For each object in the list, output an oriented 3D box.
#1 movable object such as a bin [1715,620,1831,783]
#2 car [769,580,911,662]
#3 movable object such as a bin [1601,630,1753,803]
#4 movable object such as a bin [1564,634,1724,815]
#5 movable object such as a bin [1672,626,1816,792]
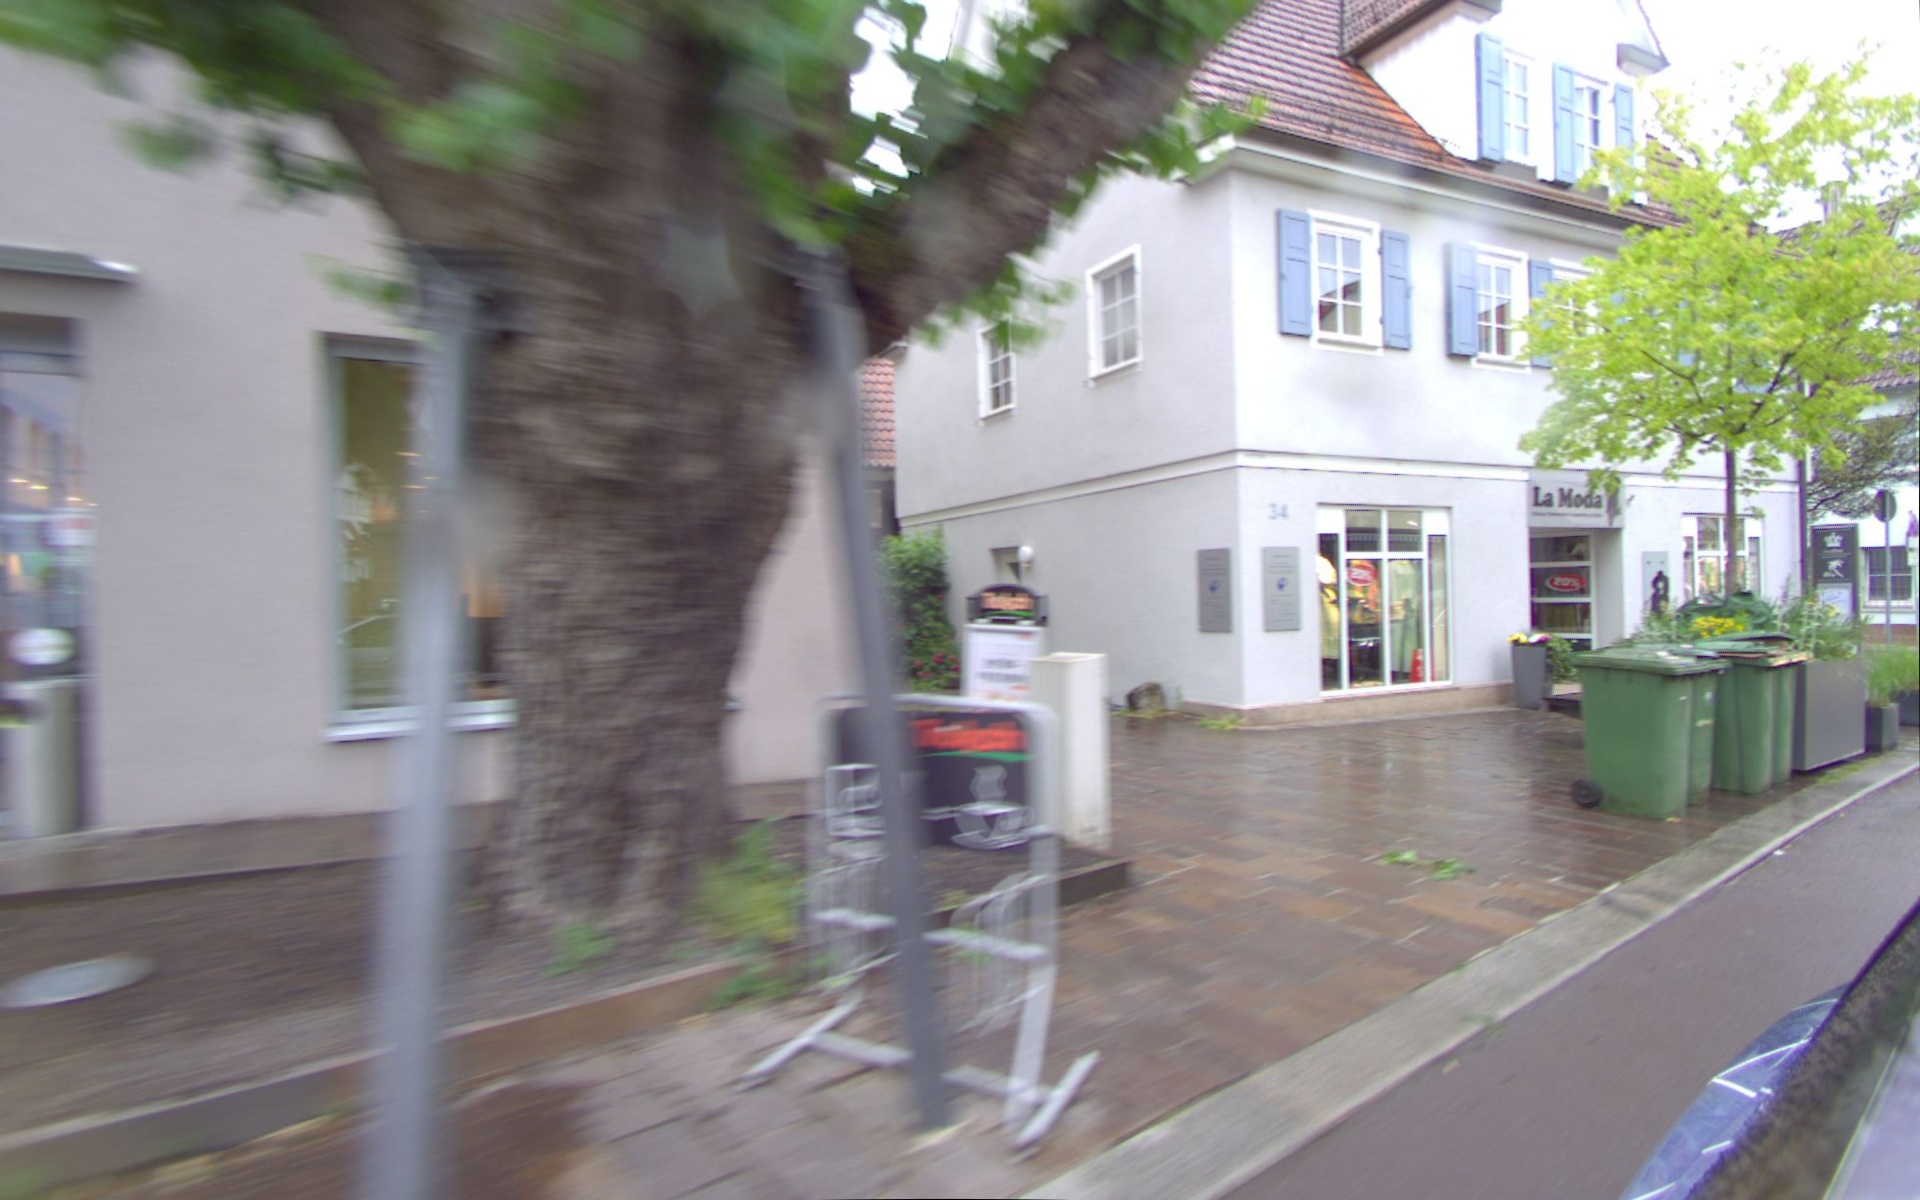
[{"bbox_3d":[6.288,0.754,7.832,0.566,1.170,0.545,-2,1,-34],"label":"movable object such as a bin"},{"bbox_3d":[-2.427,0.360,21.462,1.564,1.496,3.980,1,2,16],"label":"car"},{"bbox_3d":[5.129,0.797,7.253,0.551,1.115,0.731,-2,1,-34],"label":"movable object such as a bin"},{"bbox_3d":[4.636,0.804,6.876,0.566,1.093,0.731,-2,1,-34],"label":"movable object such as a bin"},{"bbox_3d":[5.807,0.770,7.508,0.551,1.115,0.695,-2,1,-34],"label":"movable object such as a bin"}]
